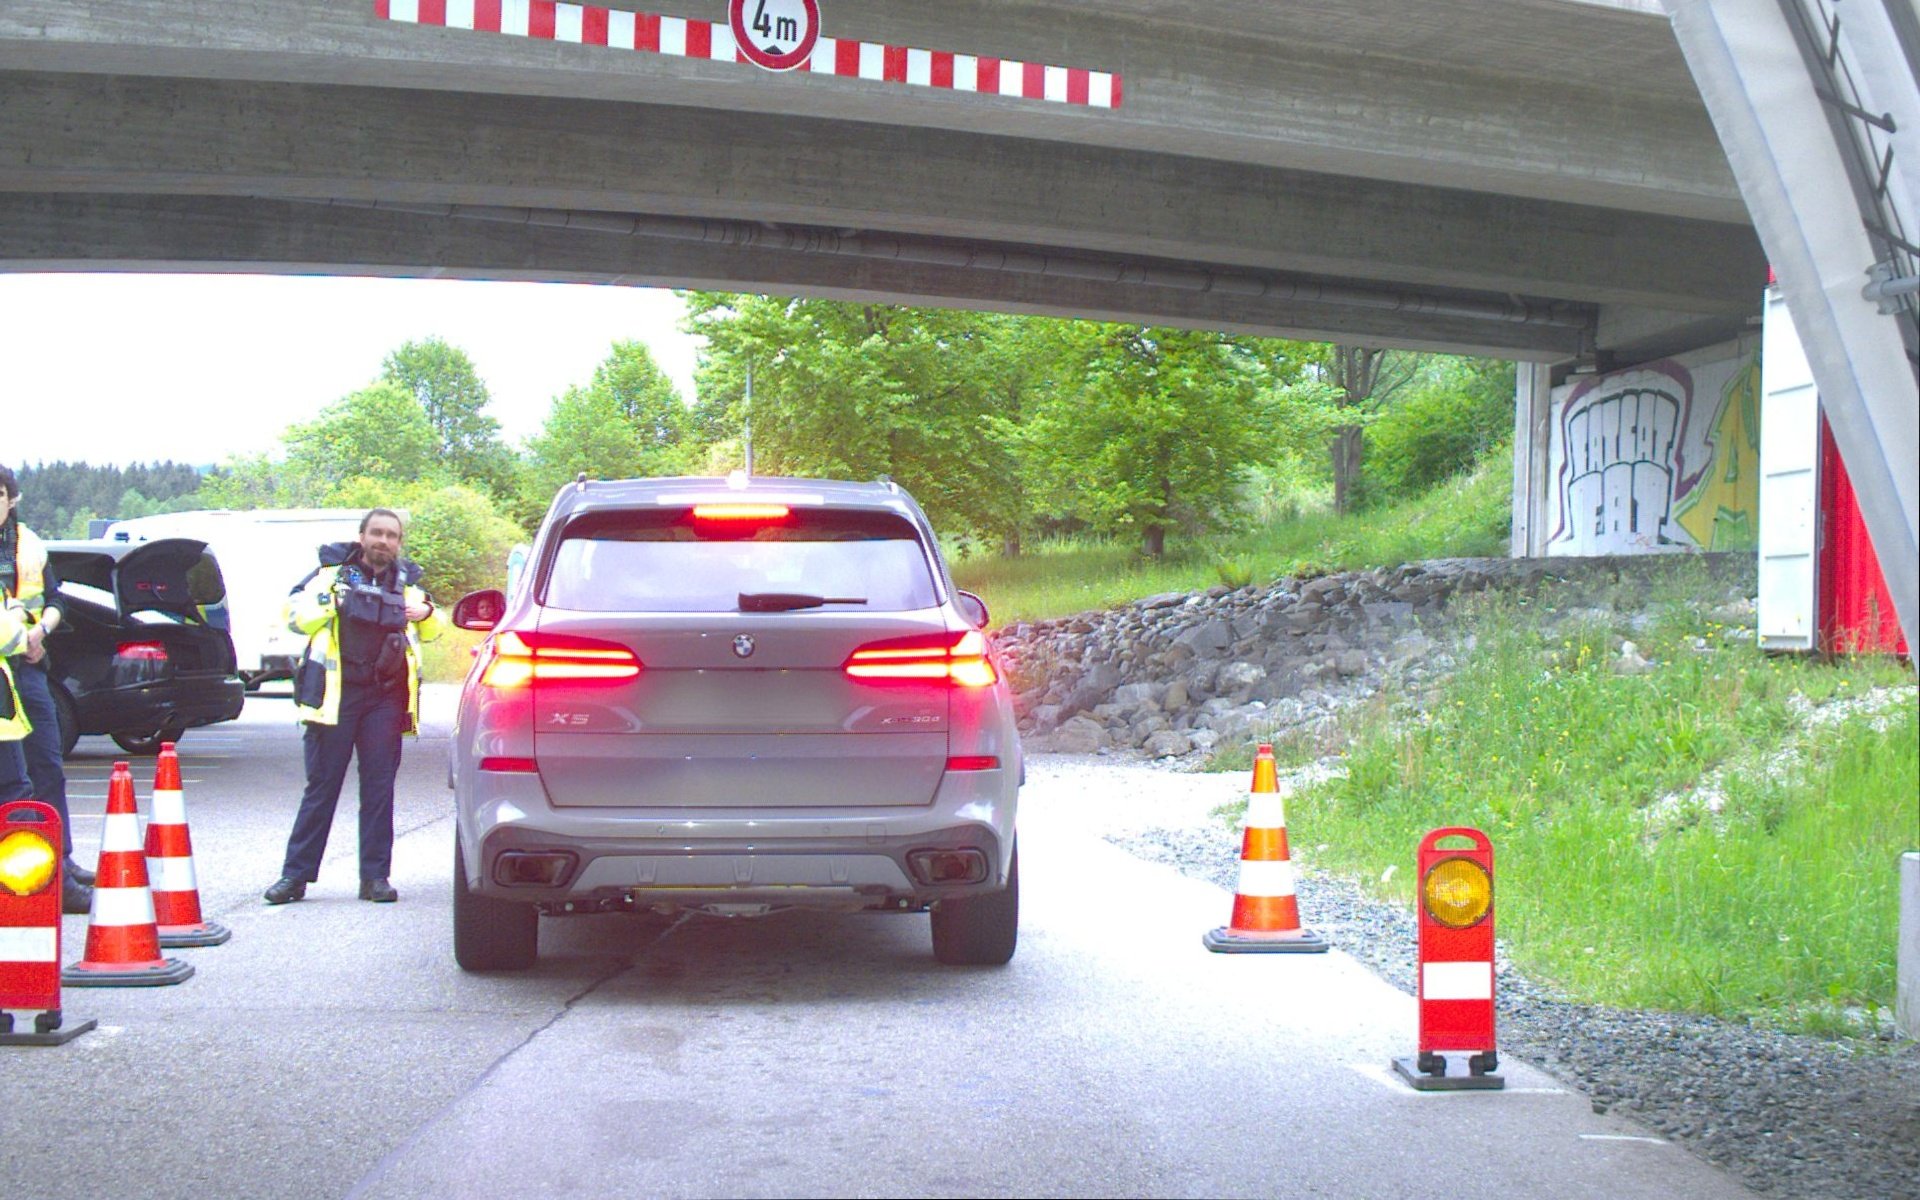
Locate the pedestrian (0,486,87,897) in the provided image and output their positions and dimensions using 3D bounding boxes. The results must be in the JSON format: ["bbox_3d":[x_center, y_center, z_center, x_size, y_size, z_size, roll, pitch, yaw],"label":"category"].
[{"bbox_3d":[-4.195,0.386,14.947,0.609,1.748,0.666,-1,1,1],"label":"pedestrian"}]

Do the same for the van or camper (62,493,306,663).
[{"bbox_3d":[-12.232,-0.368,53.907,2.104,2.510,5.551,-1,1,-31],"label":"van or camper"}]

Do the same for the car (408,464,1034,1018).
[{"bbox_3d":[-0.868,0.426,13.073,1.993,1.759,4.001,-1,1,-3],"label":"car"}]

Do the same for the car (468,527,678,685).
[{"bbox_3d":[-6.037,0.057,53.261,1.993,2.338,4.001,-1,1,-26],"label":"car"}]

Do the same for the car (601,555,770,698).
[{"bbox_3d":[-3.545,0.299,43.846,1.993,1.716,3.897,-1,1,-7],"label":"car"}]

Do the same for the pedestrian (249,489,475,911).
[{"bbox_3d":[-2.527,0.399,14.489,0.779,1.716,0.757,-1,1,-22],"label":"pedestrian"}]

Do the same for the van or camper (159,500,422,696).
[{"bbox_3d":[-9.501,-0.067,48.267,2.229,2.543,6.612,-1,1,-23],"label":"van or camper"}]

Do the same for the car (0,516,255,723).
[{"bbox_3d":[-9.763,0.181,34.801,4.809,2.007,1.840,0,1,14],"label":"car"}]

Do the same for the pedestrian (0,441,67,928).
[{"bbox_3d":[-4.034,0.329,13.848,0.749,1.912,0.763,-1,1,-8],"label":"pedestrian"}]
